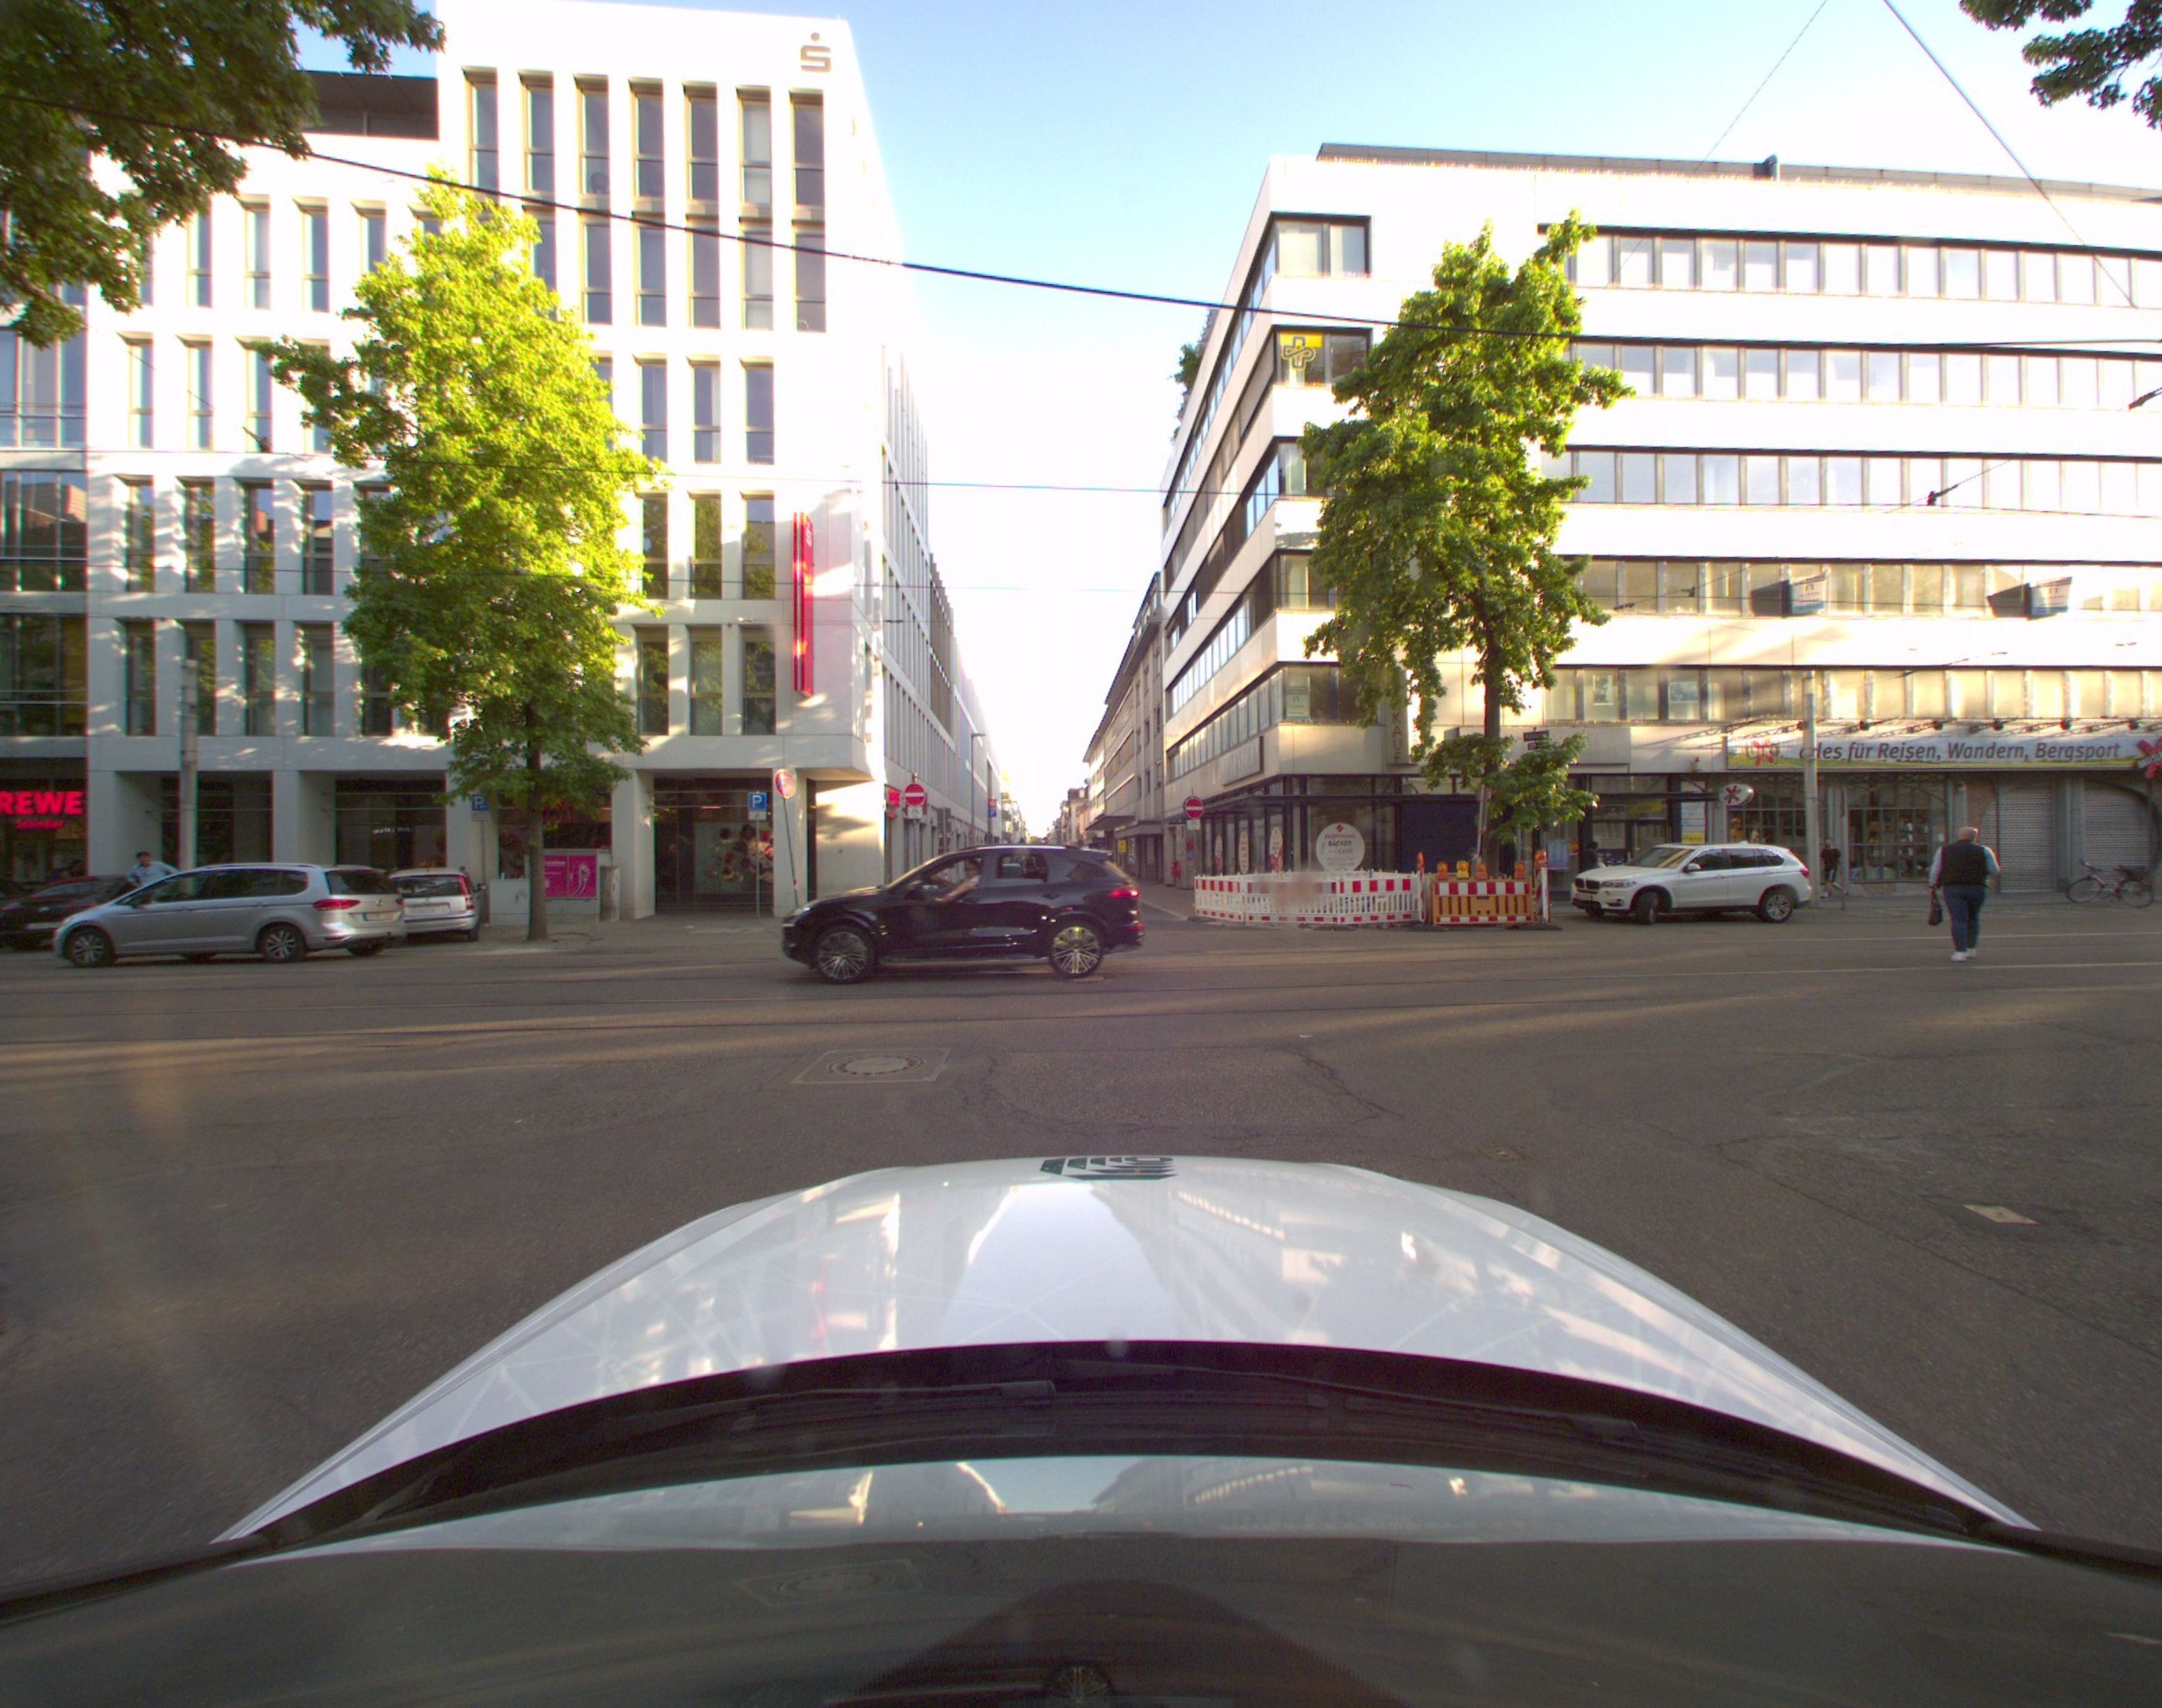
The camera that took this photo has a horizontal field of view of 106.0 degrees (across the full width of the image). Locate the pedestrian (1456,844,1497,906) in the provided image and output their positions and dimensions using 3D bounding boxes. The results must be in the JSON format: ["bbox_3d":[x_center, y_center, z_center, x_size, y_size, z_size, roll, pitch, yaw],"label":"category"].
[{"bbox_3d":[10.119,0.532,20.866,0.704,1.549,0.578,-2,0,-6],"label":"pedestrian"}]

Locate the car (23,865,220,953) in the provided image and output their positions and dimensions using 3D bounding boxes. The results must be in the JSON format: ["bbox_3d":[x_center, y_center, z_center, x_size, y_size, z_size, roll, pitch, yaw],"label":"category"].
[{"bbox_3d":[-20.820,1.109,17.879,1.595,1.505,3.558,-3,3,-30],"label":"car"}]

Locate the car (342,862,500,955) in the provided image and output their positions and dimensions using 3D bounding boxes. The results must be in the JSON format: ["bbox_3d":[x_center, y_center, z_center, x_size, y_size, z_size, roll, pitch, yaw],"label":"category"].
[{"bbox_3d":[-14.023,1.046,17.575,1.957,1.505,3.960,-3,3,-30],"label":"car"}]

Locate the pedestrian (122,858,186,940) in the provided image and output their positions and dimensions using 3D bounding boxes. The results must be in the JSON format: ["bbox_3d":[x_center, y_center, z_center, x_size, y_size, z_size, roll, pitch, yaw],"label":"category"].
[{"bbox_3d":[-18.966,0.899,16.672,0.642,1.627,0.638,0,0,-24],"label":"pedestrian"}]

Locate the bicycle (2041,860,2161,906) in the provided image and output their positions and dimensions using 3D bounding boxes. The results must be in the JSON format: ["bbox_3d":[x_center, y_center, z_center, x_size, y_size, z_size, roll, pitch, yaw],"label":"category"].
[{"bbox_3d":[25.232,0.684,20.079,0.666,0.952,2.024,-2,3,-5],"label":"bicycle"}]

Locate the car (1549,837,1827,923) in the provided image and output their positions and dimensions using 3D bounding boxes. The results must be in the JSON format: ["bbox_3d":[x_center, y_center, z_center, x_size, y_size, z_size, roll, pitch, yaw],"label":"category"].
[{"bbox_3d":[13.590,0.532,18.437,4.919,1.775,2.020,0,2,-4],"label":"car"}]

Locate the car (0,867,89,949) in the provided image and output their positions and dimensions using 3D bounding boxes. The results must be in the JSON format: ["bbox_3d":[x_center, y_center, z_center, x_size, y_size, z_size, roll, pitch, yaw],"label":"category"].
[{"bbox_3d":[-23.077,1.156,16.792,1.957,1.505,3.960,-3,3,-30],"label":"car"}]

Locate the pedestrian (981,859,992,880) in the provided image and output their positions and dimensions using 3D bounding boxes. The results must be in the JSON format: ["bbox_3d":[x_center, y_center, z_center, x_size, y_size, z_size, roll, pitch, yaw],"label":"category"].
[{"bbox_3d":[-6.693,1.080,57.732,0.714,1.464,0.525,-2,0,-1],"label":"pedestrian"}]

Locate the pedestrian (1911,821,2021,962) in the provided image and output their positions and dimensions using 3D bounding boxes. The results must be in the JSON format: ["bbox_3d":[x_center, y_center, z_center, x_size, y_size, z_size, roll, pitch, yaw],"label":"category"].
[{"bbox_3d":[11.852,0.471,10.950,0.795,1.776,1.079,-2,0,38],"label":"pedestrian"}]

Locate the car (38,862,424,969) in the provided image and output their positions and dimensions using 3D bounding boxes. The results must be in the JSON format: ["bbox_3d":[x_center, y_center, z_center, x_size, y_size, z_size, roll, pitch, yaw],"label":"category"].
[{"bbox_3d":[-14.049,0.979,13.730,4.265,1.593,1.824,-1,-2,-6],"label":"car"}]

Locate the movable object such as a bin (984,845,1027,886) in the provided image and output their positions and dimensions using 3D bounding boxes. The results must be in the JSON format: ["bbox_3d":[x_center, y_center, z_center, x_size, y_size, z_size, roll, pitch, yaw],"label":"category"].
[{"bbox_3d":[-3.931,0.590,42.934,1.989,2.013,3.996,-2,0,-2],"label":"movable object such as a bin"}]

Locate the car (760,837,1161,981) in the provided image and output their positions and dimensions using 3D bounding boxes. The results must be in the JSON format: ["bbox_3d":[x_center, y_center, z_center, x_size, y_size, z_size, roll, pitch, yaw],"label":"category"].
[{"bbox_3d":[-1.508,0.676,11.091,4.919,1.726,2.019,0,-1,-4],"label":"car"}]

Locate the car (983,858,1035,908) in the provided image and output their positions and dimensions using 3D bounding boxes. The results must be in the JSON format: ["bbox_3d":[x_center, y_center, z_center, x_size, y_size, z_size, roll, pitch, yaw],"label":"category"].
[{"bbox_3d":[-2.478,0.946,27.701,1.627,1.550,3.135,-2,0,-6],"label":"car"}]

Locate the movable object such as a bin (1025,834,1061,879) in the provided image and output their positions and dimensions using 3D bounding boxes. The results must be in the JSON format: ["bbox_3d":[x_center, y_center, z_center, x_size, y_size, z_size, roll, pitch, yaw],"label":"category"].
[{"bbox_3d":[-2.411,0.164,51.979,2.152,2.664,4.567,-1,0,-3],"label":"movable object such as a bin"}]
